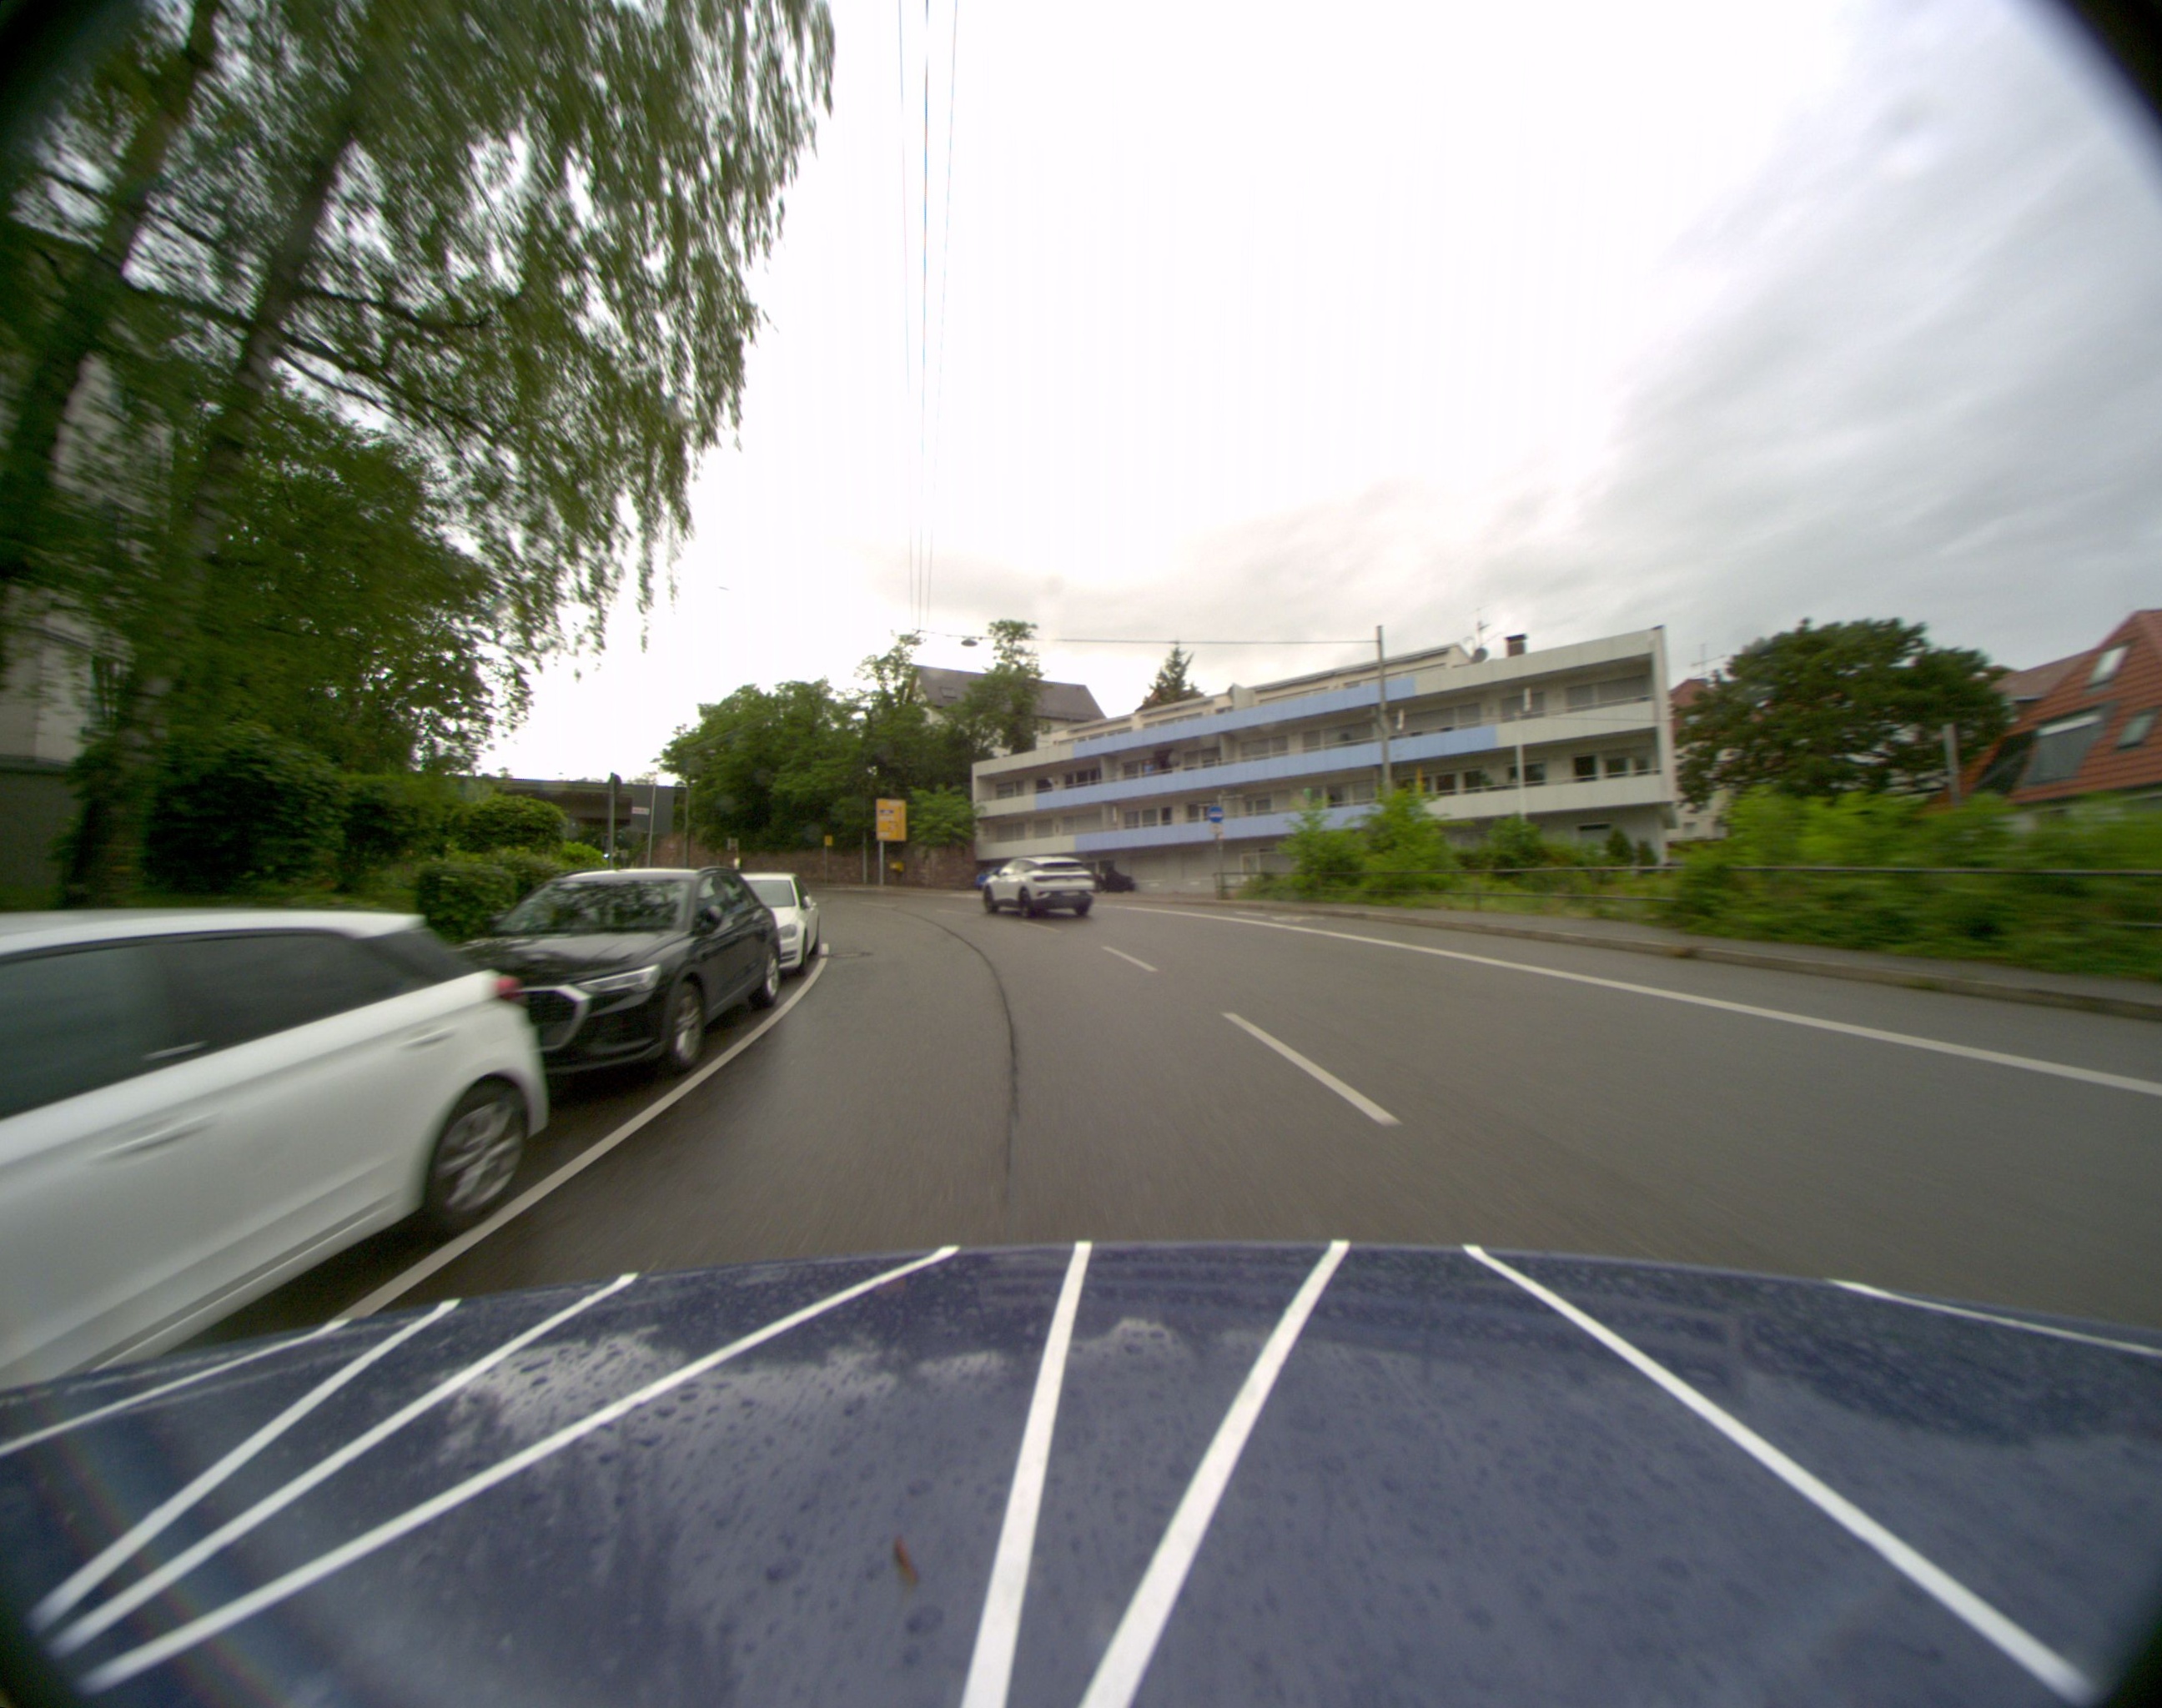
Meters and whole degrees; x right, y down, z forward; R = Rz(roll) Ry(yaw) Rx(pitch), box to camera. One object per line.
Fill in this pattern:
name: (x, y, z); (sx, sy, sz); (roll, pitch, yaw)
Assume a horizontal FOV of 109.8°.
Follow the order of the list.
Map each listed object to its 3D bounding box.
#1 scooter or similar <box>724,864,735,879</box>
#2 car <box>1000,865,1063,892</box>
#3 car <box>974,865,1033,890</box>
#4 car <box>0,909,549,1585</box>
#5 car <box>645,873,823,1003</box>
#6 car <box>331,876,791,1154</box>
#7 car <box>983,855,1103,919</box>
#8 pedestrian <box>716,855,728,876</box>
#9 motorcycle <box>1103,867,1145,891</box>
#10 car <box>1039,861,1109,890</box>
scooter or similar: (-28.653, 1.435, 61.982); (1.122, 1.175, 0.375); (1, 1, 40)
car: (-2.841, 1.438, 44.033); (1.703, 1.436, 3.450); (-1, -4, 40)
car: (-4.629, 1.415, 45.913); (1.632, 1.381, 3.450); (1, -2, 35)
car: (-3.428, 1.005, 1.731); (1.731, 1.456, 4.030); (0, 0, -3)
car: (-5.093, 1.105, 11.724); (1.796, 1.438, 4.100); (-2, 1, -15)
car: (-3.956, 1.027, 6.785); (1.630, 1.510, 4.323); (-2, 0, -9)
car: (-1.188, 0.874, 21.361); (1.834, 1.597, 4.277); (1, -1, -25)
pedestrian: (-28.888, 0.916, 61.136); (0.621, 1.722, 0.591); (1, 1, 38)
motorcycle: (2.446, 1.413, 43.724); (2.329, 1.302, 0.575); (1, 1, 24)
car: (-0.344, 1.195, 41.442); (1.711, 1.540, 3.945); (-1, -2, 37)
